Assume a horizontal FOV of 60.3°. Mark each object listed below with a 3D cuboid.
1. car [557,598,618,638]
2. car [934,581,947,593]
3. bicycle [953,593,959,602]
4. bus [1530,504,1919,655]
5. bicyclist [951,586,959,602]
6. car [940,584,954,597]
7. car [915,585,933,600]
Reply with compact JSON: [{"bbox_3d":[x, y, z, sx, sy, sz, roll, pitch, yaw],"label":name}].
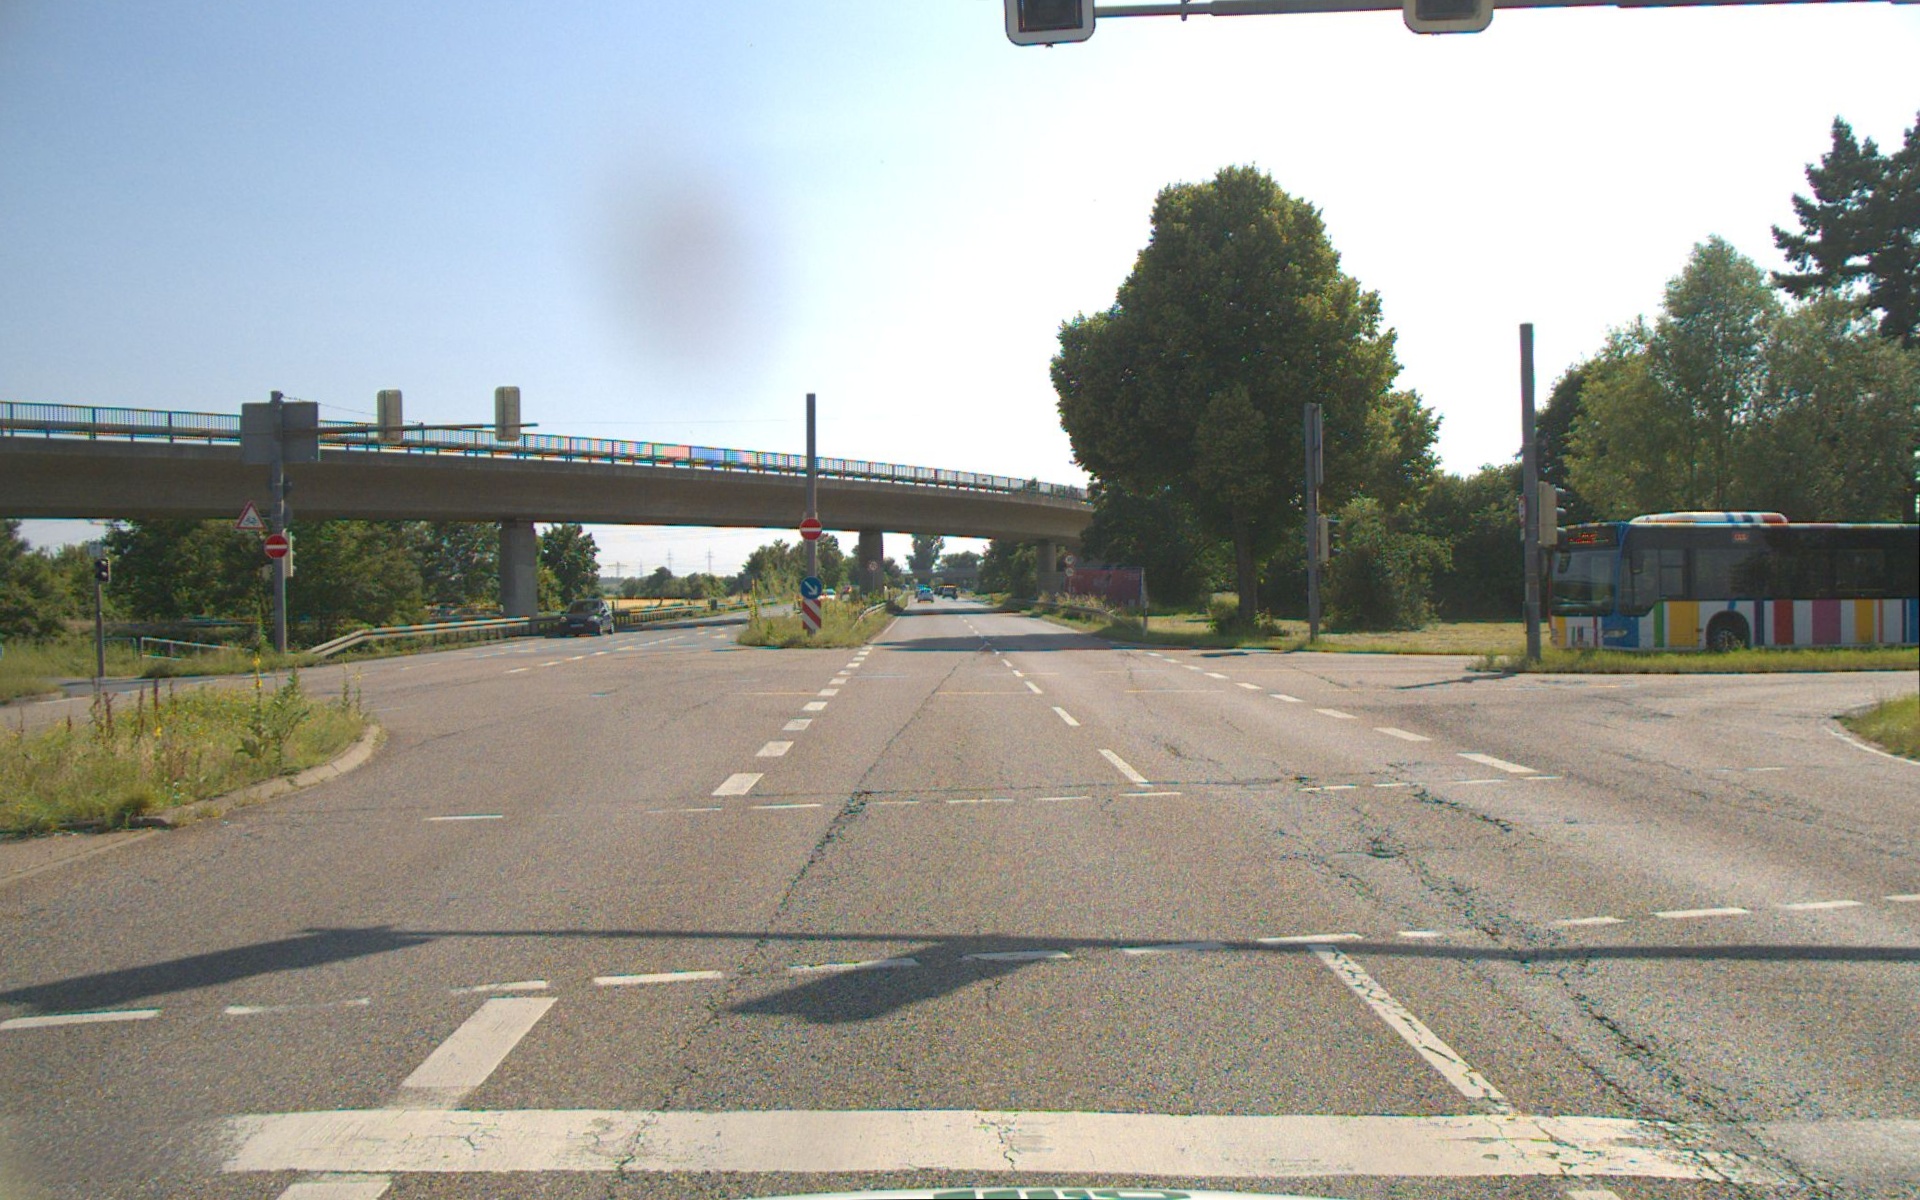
[{"bbox_3d":[-14.922,0.690,66.460,1.582,1.467,3.775,-3,0,-1],"label":"car"},{"bbox_3d":[-3.009,-1.973,254.283,1.953,1.660,3.999,1,-1,-1],"label":"car"},{"bbox_3d":[-0.469,-0.296,198.035,0.588,1.000,2.360,-2,0,-1],"label":"bicycle"},{"bbox_3d":[18.486,-0.531,36.293,11.745,2.927,2.929,-2,0,-16],"label":"bus"},{"bbox_3d":[-0.591,-0.753,198.351,0.986,1.919,1.326,-2,0,-1],"label":"bicyclist"},{"bbox_3d":[-1.691,-1.292,221.996,1.835,1.668,4.000,-1,0,0],"label":"car"},{"bbox_3d":[-3.765,-0.802,174.362,1.813,1.486,4.000,0,0,0],"label":"car"}]
